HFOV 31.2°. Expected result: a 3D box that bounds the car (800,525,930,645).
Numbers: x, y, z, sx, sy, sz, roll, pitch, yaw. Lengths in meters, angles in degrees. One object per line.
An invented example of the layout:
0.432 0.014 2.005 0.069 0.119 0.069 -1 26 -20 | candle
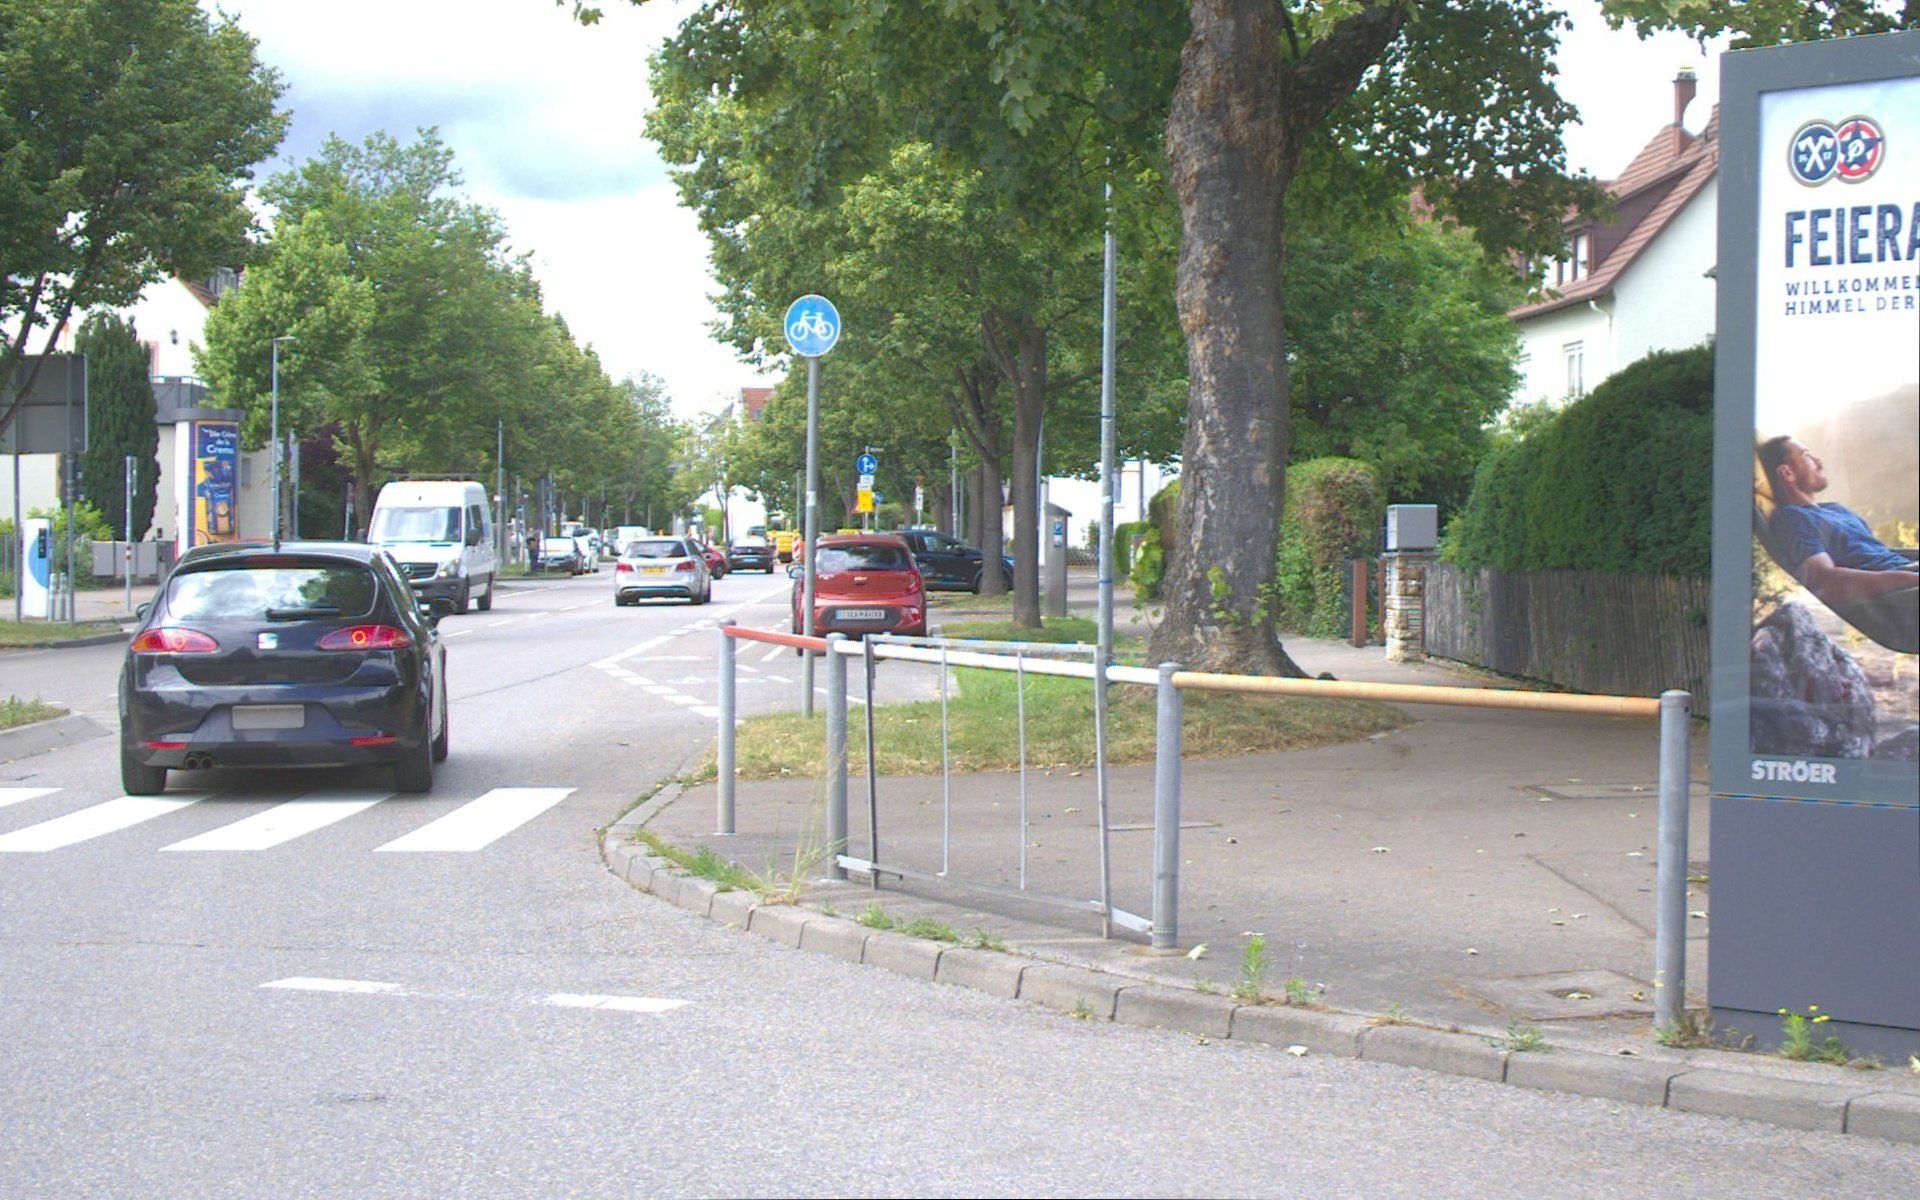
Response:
-1.186 -0.194 43.278 1.565 1.450 3.668 0 0 -1 | car

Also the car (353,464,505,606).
-10.387 -1.286 67.680 2.019 2.665 5.806 0 1 1 | car

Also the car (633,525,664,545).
-22.631 -4.740 249.829 1.809 1.410 3.694 0 1 -13 | car

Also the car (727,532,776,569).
-7.823 -1.886 129.169 1.810 1.370 3.694 0 1 -3 | car

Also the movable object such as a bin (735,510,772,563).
-10.128 -3.106 168.777 1.768 2.565 3.740 0 1 -3 | movable object such as a bin

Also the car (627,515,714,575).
-9.353 -1.790 111.416 1.908 1.875 3.999 1 1 9 | car

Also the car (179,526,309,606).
-14.206 -0.702 68.395 1.685 1.536 4.132 0 1 1 | car

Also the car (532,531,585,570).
-15.029 -1.882 128.822 1.643 1.415 4.021 -1 1 -2 | car

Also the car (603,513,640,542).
-21.281 -4.548 216.099 1.966 1.824 4.819 0 1 -1 | car

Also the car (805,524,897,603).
-2.087 -0.715 65.102 1.652 1.411 4.177 -1 1 -3 | car

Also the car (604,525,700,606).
-6.586 -0.759 73.825 1.905 1.680 3.740 -1 1 -3 | car

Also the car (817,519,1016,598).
-0.969 -0.926 75.570 4.216 1.632 1.694 -1 1 -6 | car

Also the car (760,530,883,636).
-1.992 -0.272 49.082 1.652 1.411 4.177 -1 1 -3 | car

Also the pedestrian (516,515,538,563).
-15.339 -2.174 121.786 0.542 1.675 0.750 2 2 7 | pedestrian

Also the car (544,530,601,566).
-15.238 -2.066 135.462 1.714 1.401 4.300 0 1 0 | car

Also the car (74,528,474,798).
-3.977 0.301 20.492 1.818 1.433 3.740 -1 1 -3 | car
